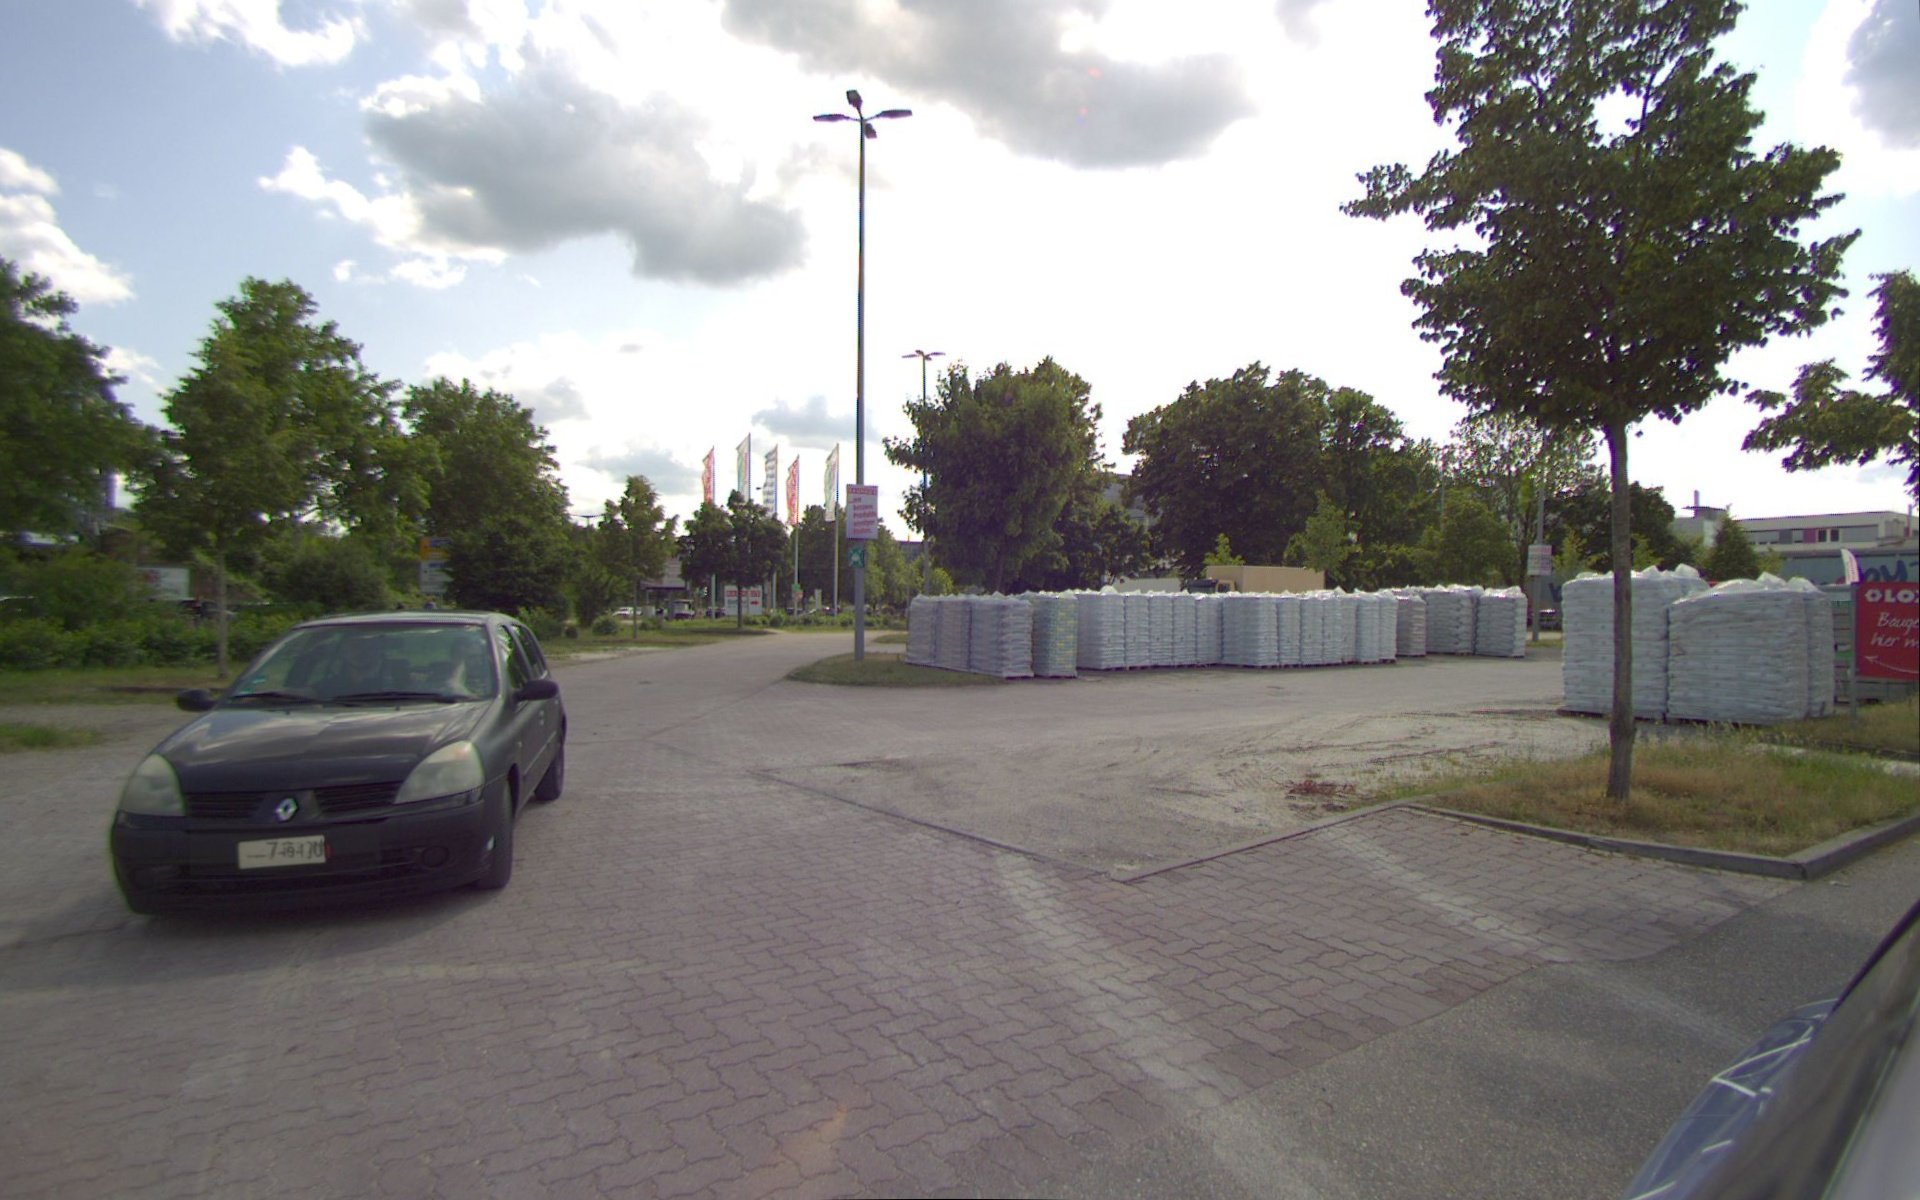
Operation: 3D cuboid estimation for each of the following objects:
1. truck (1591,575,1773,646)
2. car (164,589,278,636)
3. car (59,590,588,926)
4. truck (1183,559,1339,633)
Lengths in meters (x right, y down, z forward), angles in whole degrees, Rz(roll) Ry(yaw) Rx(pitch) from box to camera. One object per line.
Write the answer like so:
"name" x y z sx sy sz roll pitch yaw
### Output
"truck" 28.040 0.364 39.502 2.077 2.547 5.443 1 0 -37
"car" -31.468 0.502 43.242 1.961 1.736 4.003 -2 2 -2
"car" -3.285 0.628 6.069 1.578 1.338 3.794 0 0 -14
"truck" 15.913 -0.169 53.214 8.860 3.644 2.731 1 0 -33
